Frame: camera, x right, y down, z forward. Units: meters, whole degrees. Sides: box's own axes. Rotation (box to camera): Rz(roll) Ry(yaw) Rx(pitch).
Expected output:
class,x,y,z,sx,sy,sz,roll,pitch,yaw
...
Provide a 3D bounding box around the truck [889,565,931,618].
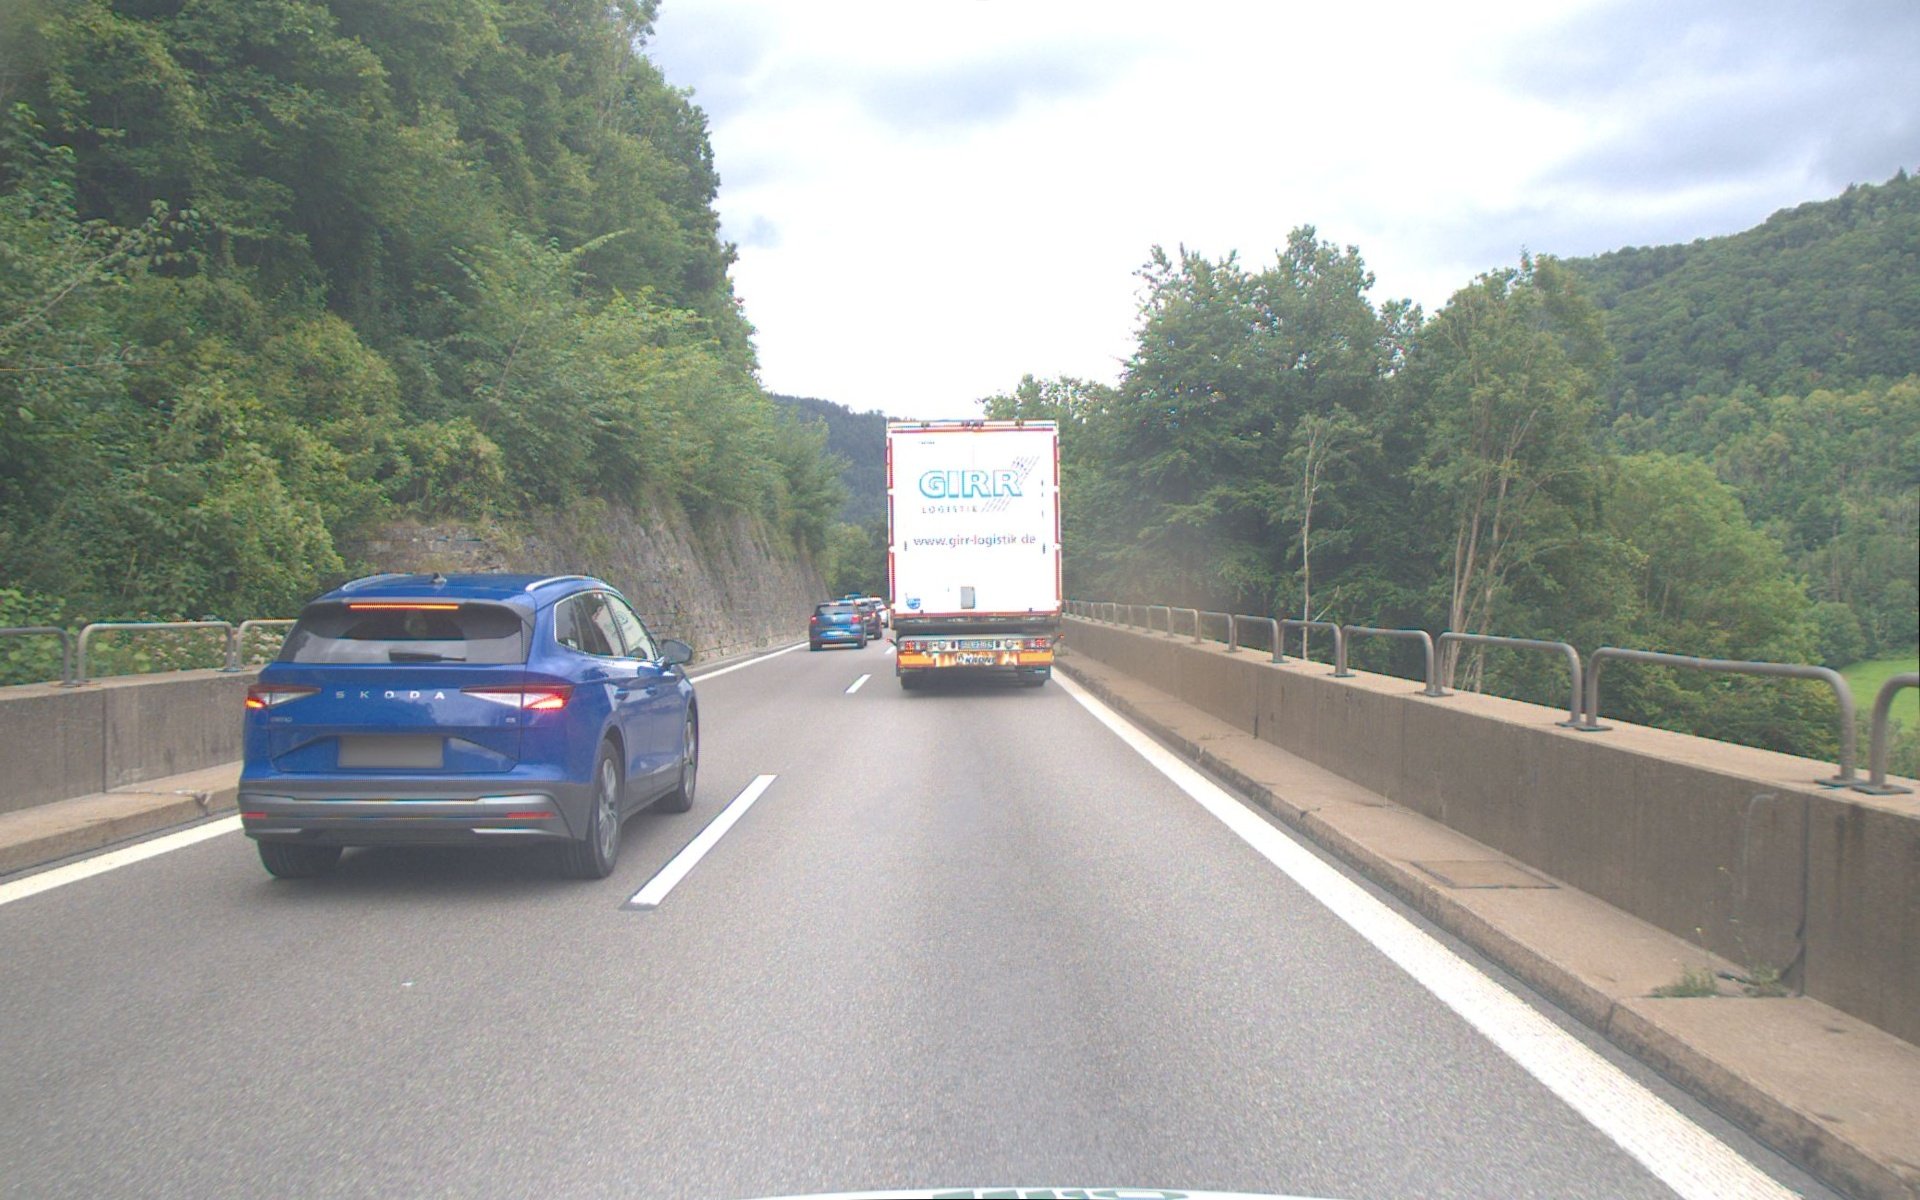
class,x,y,z,sx,sy,sz,roll,pitch,yaw
truck,-4.033,-0.640,131.852,2.583,3.925,12.346,1,0,-5

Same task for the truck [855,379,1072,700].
class,x,y,z,sx,sy,sz,roll,pitch,yaw
truck,0.036,-0.952,31.336,3.021,4.542,15.155,-1,1,0

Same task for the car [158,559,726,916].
class,x,y,z,sx,sy,sz,roll,pitch,yaw
car,-2.764,0.621,10.207,1.953,1.660,5.008,0,0,0

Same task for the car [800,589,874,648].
class,x,y,z,sx,sy,sz,roll,pitch,yaw
car,-3.712,0.569,50.578,1.953,1.624,4.352,-3,-1,-1

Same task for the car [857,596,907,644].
class,x,y,z,sx,sy,sz,roll,pitch,yaw
car,-2.835,0.735,60.913,1.710,1.614,3.998,2,-1,-1

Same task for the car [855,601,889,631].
class,x,y,z,sx,sy,sz,roll,pitch,yaw
car,-4.611,0.837,86.792,1.710,1.512,3.997,1,0,-3
